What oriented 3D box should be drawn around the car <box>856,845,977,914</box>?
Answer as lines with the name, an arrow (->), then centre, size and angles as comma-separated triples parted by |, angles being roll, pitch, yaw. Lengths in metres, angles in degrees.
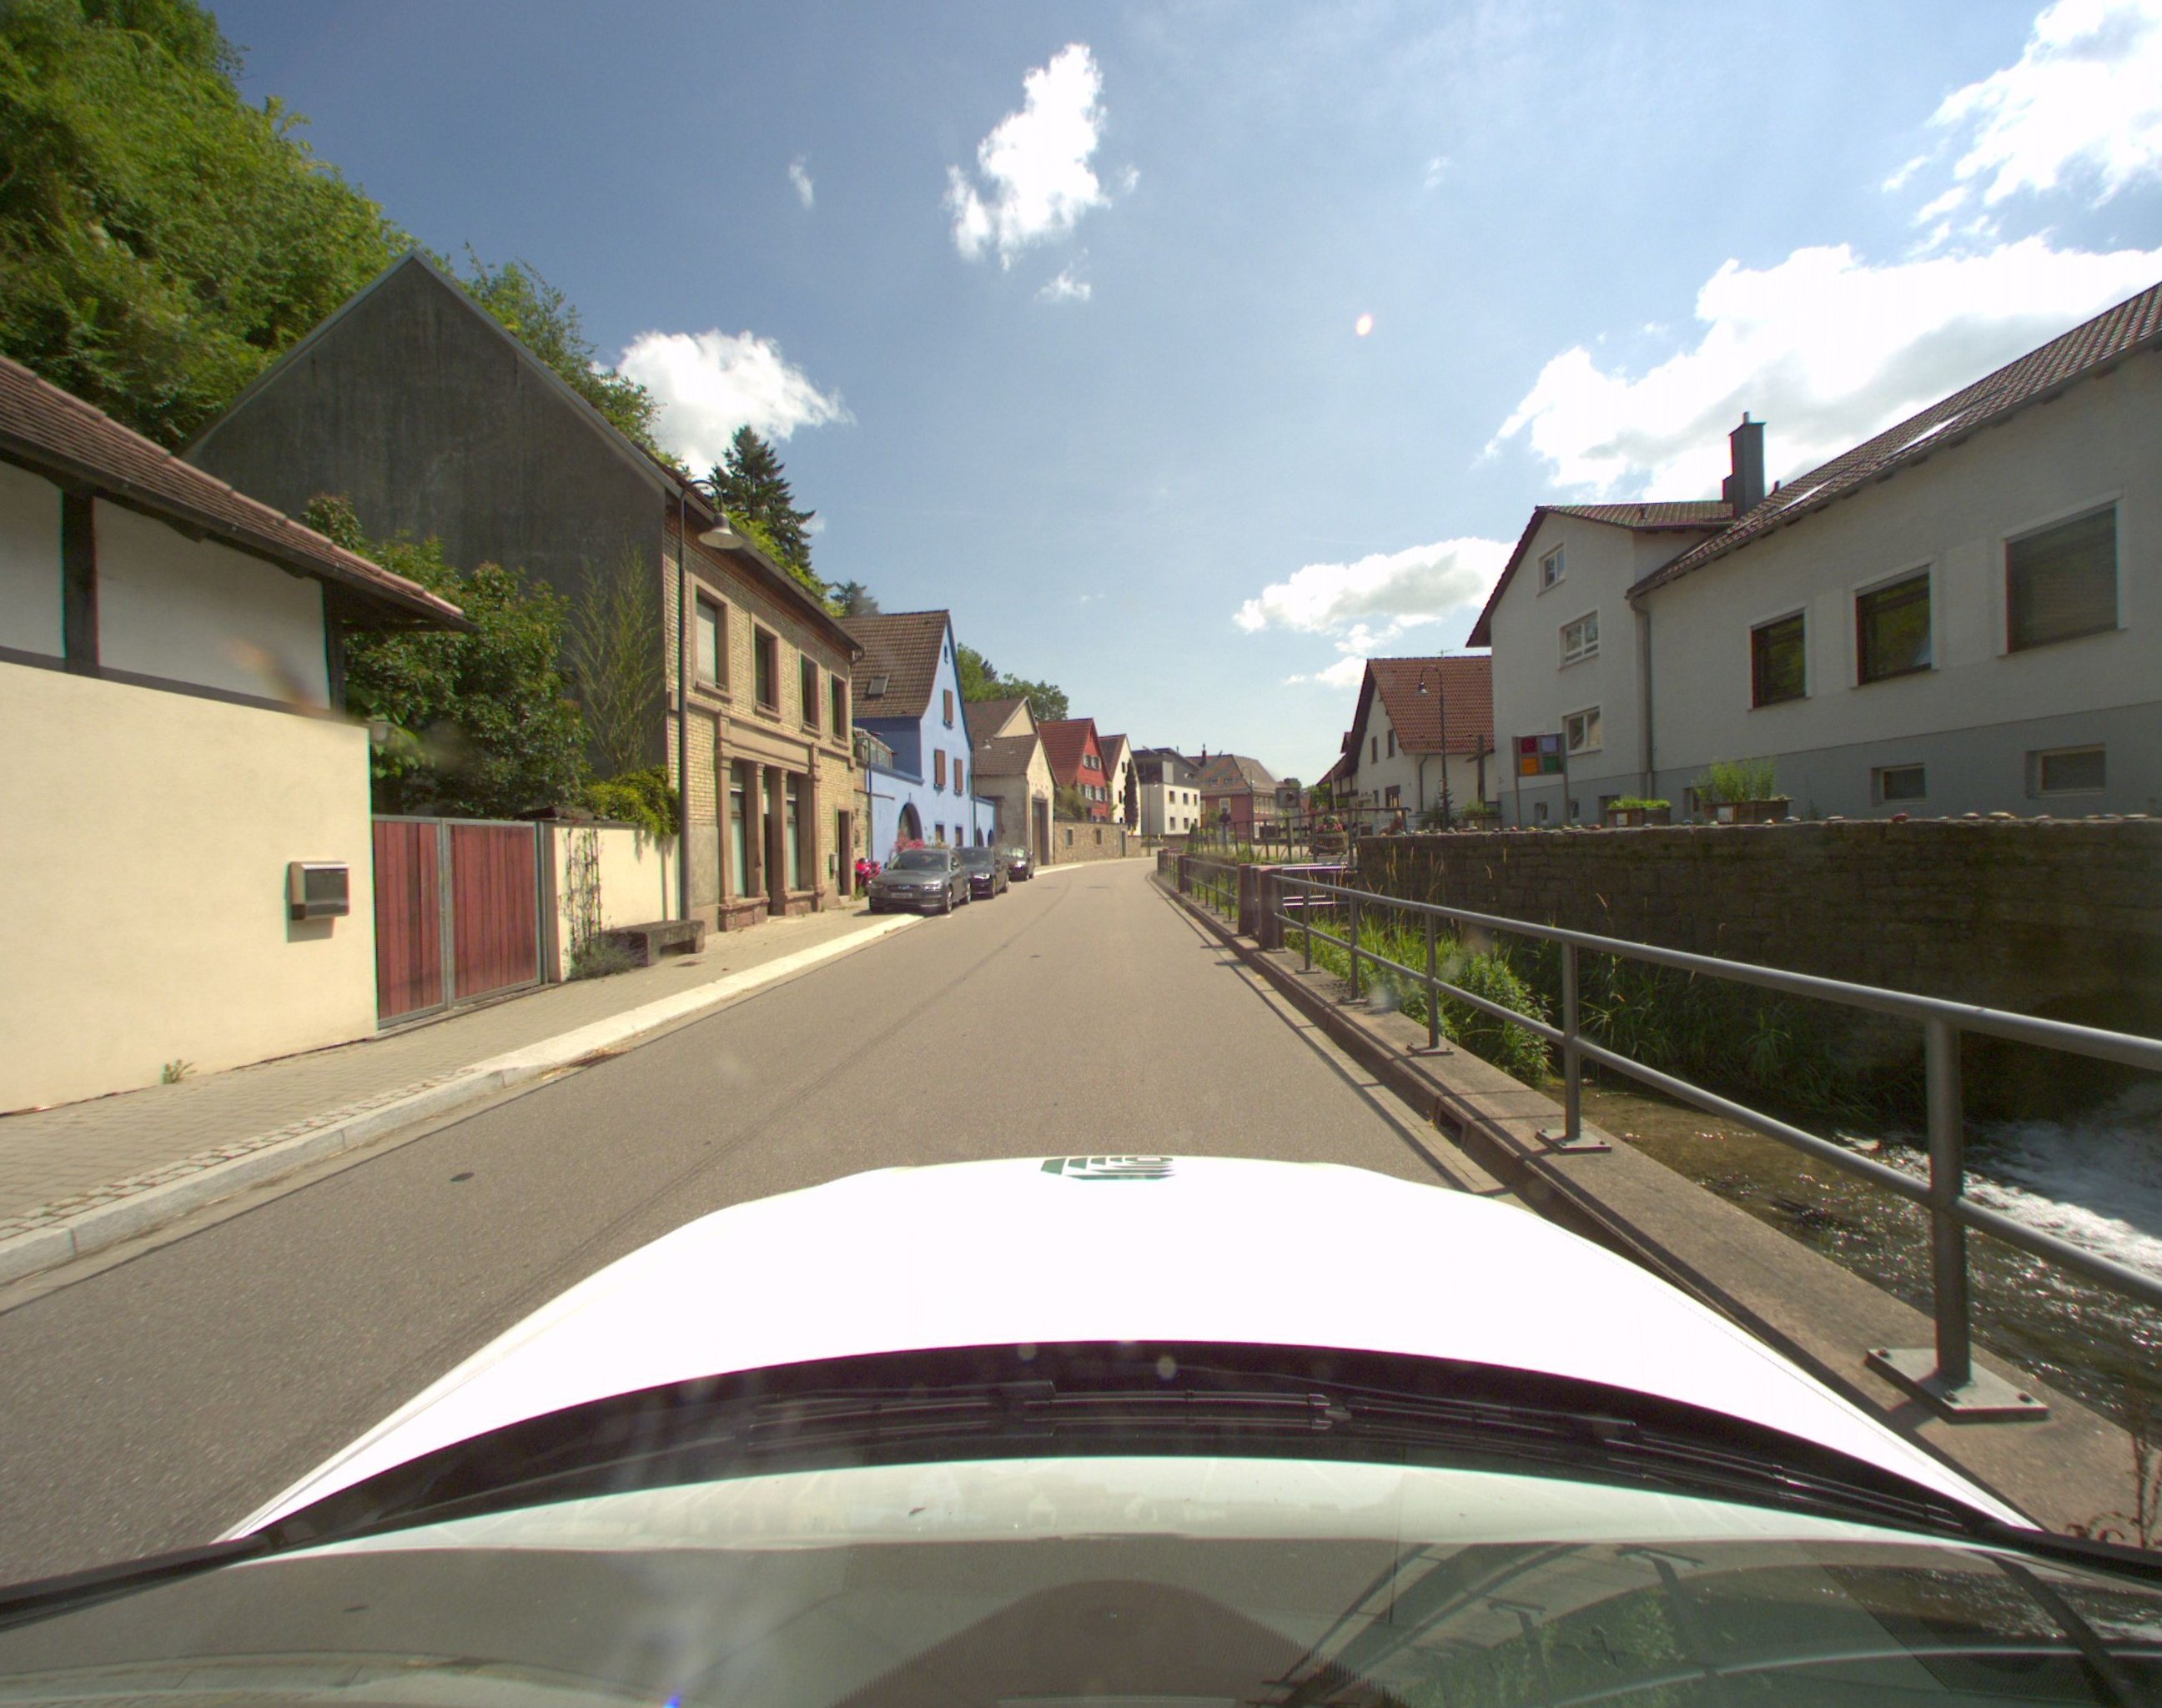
car -> -3.842, 0.544, 19.889 | 1.950, 1.465, 4.546 | -1, 0, 1

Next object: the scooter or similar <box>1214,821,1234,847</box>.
scooter or similar -> 6.619, -0.913, 37.641 | 0.638, 1.142, 1.813 | -3, 0, 3

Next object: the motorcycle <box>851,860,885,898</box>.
motorcycle -> -6.065, 0.703, 23.239 | 0.416, 1.001, 1.858 | 3, 0, 0

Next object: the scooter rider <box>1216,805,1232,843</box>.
scooter rider -> 6.599, -1.387, 37.567 | 0.639, 1.731, 0.554 | -1, 0, 2

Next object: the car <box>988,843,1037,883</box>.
car -> -2.890, 0.335, 35.041 | 1.711, 1.530, 3.857 | -2, 1, 0

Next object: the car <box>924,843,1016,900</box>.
car -> -3.264, 0.457, 24.839 | 1.877, 1.464, 4.673 | 2, 1, 3
